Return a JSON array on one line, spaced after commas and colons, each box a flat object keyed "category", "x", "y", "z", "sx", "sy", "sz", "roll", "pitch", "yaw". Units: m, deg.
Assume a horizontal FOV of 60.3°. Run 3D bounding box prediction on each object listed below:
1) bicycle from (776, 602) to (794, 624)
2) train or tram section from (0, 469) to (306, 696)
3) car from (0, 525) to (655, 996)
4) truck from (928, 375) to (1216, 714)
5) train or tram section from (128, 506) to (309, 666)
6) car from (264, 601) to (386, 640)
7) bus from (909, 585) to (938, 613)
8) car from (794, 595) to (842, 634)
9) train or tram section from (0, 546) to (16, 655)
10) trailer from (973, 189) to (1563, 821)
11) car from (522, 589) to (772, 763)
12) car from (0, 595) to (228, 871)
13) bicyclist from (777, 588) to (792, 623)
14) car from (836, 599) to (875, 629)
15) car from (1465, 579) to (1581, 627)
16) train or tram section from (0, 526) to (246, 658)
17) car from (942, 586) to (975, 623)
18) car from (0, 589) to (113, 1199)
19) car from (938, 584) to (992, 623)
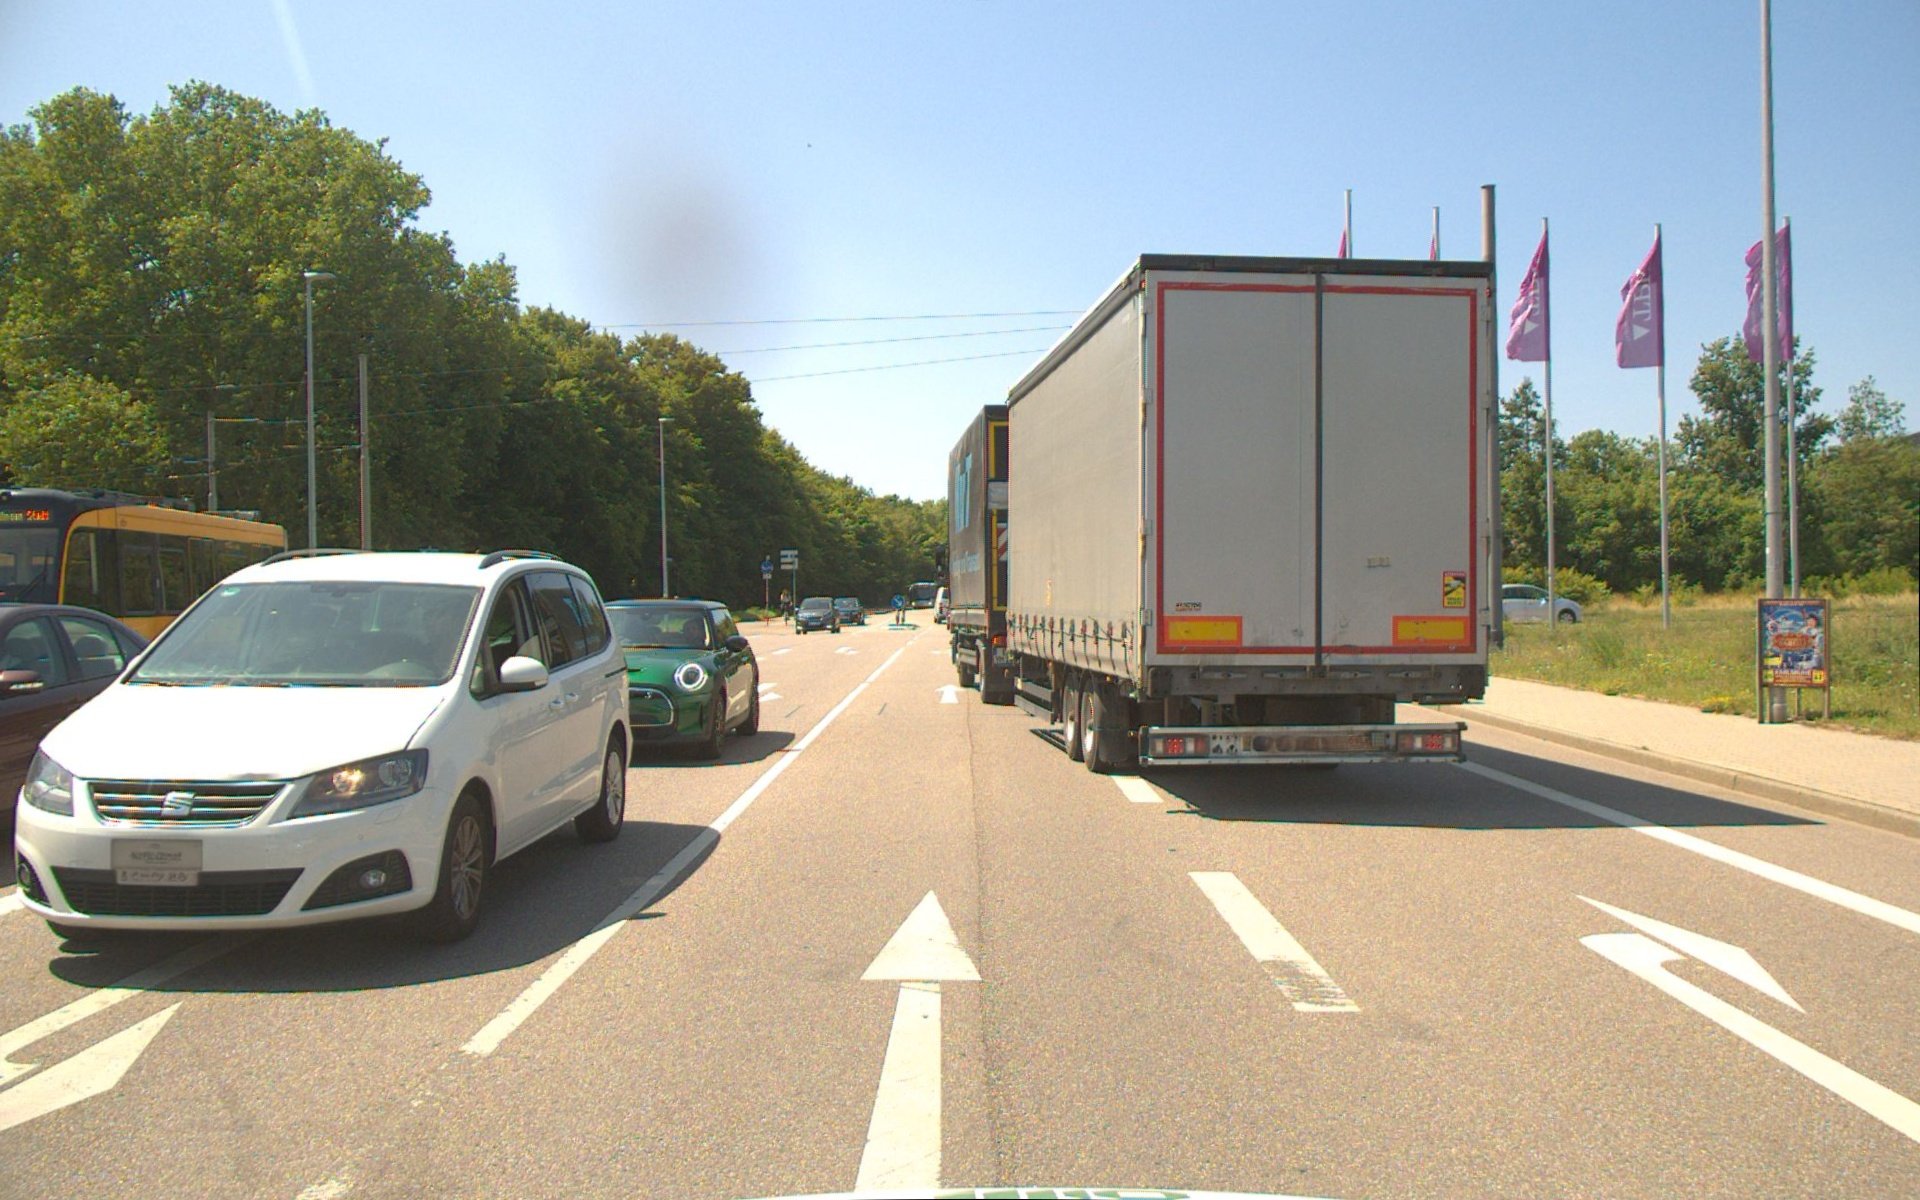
[{"category": "bicycle", "x": -8.987, "y": 0.646, "z": 84.798, "sx": 0.655, "sy": 1.073, "sz": 2.046, "roll": 0, "pitch": 1, "yaw": 2}, {"category": "train or tram section", "x": -17.157, "y": -0.321, "z": 34.575, "sx": 2.958, "sy": 3.824, "sz": 12.977, "roll": -2, "pitch": 1, "yaw": -6}, {"category": "car", "x": -2.927, "y": 0.578, "z": 8.600, "sx": 1.774, "sy": 1.753, "sz": 4.831, "roll": 0, "pitch": 0, "yaw": 0}, {"category": "truck", "x": 1.313, "y": -0.704, "z": 24.313, "sx": 3.017, "sy": 4.141, "sz": 7.950, "roll": 0, "pitch": 0, "yaw": -5}, {"category": "train or tram section", "x": -20.560, "y": -0.323, "z": 45.358, "sx": 2.987, "sy": 3.824, "sz": 11.491, "roll": -2, "pitch": 1, "yaw": -31}, {"category": "car", "x": -24.946, "y": 0.820, "z": 65.033, "sx": 4.207, "sy": 1.442, "sz": 1.668, "roll": -1, "pitch": -1, "yaw": 9}, {"category": "bus", "x": -4.540, "y": -0.170, "z": 209.195, "sx": 2.692, "sy": 3.098, "sz": 11.943, "roll": -4, "pitch": 1, "yaw": 3}, {"category": "car", "x": -5.797, "y": 0.572, "z": 67.849, "sx": 1.589, "sy": 1.481, "sz": 3.501, "roll": -2, "pitch": 0, "yaw": 0}, {"category": "train or tram section", "x": -40.677, "y": 0.299, "z": 57.157, "sx": 13.871, "sy": 3.824, "sz": 3.023, "roll": -2, "pitch": 1, "yaw": -5}, {"category": "trailer", "x": 2.118, "y": -0.655, "z": 15.883, "sx": 3.017, "sy": 4.141, "sz": 9.798, "roll": 0, "pitch": 0, "yaw": -5}, {"category": "car", "x": -2.934, "y": 0.645, "z": 16.291, "sx": 1.687, "sy": 1.488, "sz": 3.990, "roll": 0, "pitch": 0, "yaw": 0}, {"category": "car", "x": -6.062, "y": 0.735, "z": 9.619, "sx": 1.724, "sy": 1.482, "sz": 4.285, "roll": -1, "pitch": 0, "yaw": -1}, {"category": "bicyclist", "x": -8.984, "y": 0.274, "z": 84.708, "sx": 0.651, "sy": 1.735, "sz": 0.769, "roll": 0, "pitch": 0, "yaw": 1}, {"category": "car", "x": -5.530, "y": 0.739, "z": 87.841, "sx": 1.708, "sy": 1.430, "sz": 4.442, "roll": -1, "pitch": 1, "yaw": 1}, {"category": "car", "x": 19.220, "y": 0.095, "z": 56.589, "sx": 3.538, "sy": 1.559, "sz": 1.707, "roll": 1, "pitch": 0, "yaw": 10}, {"category": "train or tram section", "x": -28.822, "y": -0.132, "z": 53.786, "sx": 13.751, "sy": 3.824, "sz": 3.018, "roll": -2, "pitch": 1, "yaw": 33}, {"category": "car", "x": -0.066, "y": 0.233, "z": 89.140, "sx": 1.621, "sy": 1.940, "sz": 4.001, "roll": -1, "pitch": 0, "yaw": 2}, {"category": "car", "x": -2.859, "y": 0.708, "z": 1.936, "sx": 1.732, "sy": 1.463, "sz": 3.960, "roll": 0, "pitch": 0, "yaw": -1}, {"category": "car", "x": 0.260, "y": 0.152, "z": 74.133, "sx": 1.982, "sy": 1.661, "sz": 4.003, "roll": -1, "pitch": 0, "yaw": 6}]
